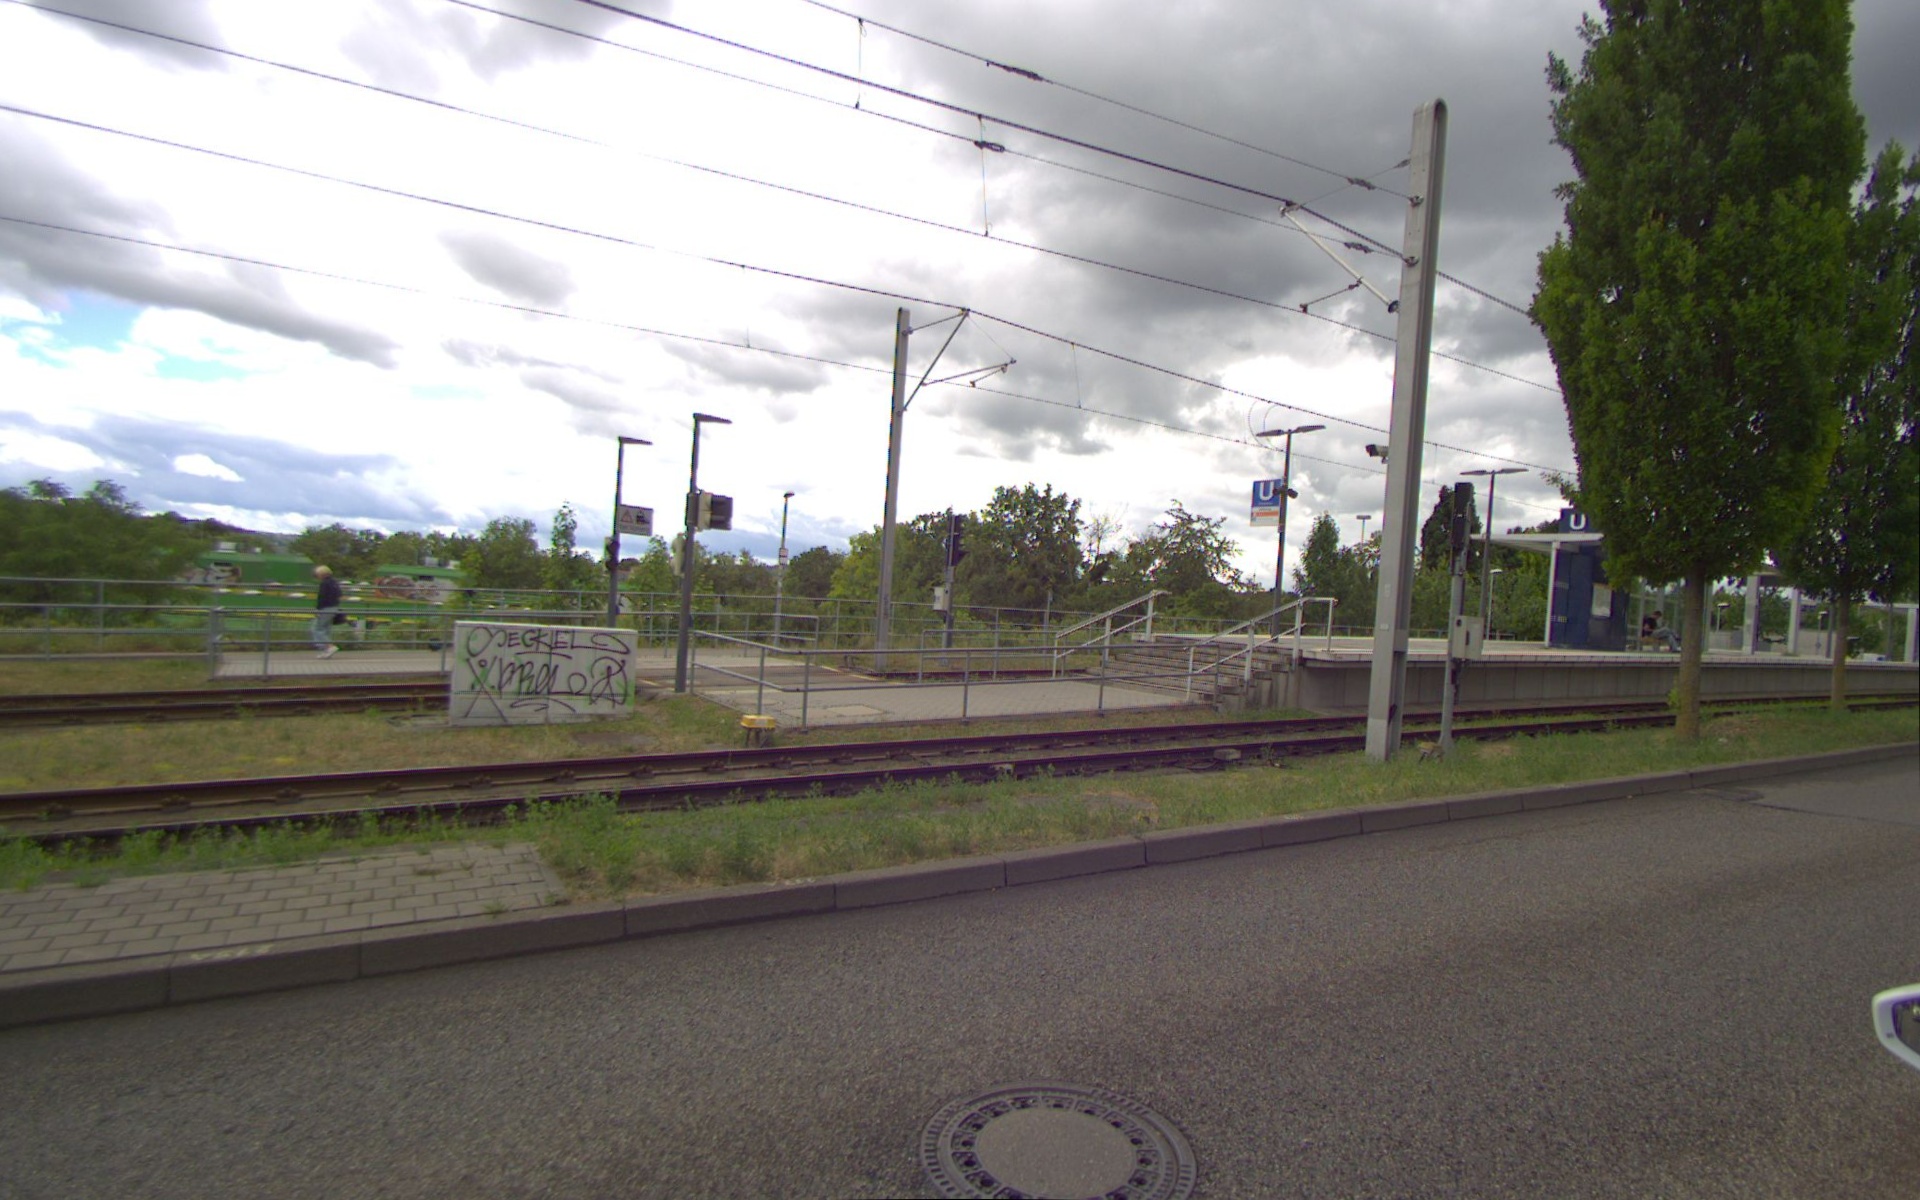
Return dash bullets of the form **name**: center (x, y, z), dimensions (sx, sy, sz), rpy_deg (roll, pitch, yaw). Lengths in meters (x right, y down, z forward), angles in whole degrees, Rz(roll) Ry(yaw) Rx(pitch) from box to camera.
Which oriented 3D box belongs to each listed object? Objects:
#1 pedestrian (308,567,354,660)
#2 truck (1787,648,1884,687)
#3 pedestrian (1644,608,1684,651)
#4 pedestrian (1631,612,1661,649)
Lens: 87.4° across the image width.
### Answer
- **pedestrian**: center (-11.367, 0.245, 18.160), dimensions (0.638, 1.646, 0.505), rpy_deg (1, 0, -29)
- **truck**: center (92.173, 7.046, 105.870), dimensions (2.660, 3.647, 7.206), rpy_deg (1, 0, -29)
- **pedestrian**: center (20.838, 0.876, 29.721), dimensions (0.659, 1.215, 0.756), rpy_deg (3, -1, -34)
- **pedestrian**: center (21.041, 0.937, 30.822), dimensions (0.465, 1.093, 0.603), rpy_deg (1, 0, -34)
